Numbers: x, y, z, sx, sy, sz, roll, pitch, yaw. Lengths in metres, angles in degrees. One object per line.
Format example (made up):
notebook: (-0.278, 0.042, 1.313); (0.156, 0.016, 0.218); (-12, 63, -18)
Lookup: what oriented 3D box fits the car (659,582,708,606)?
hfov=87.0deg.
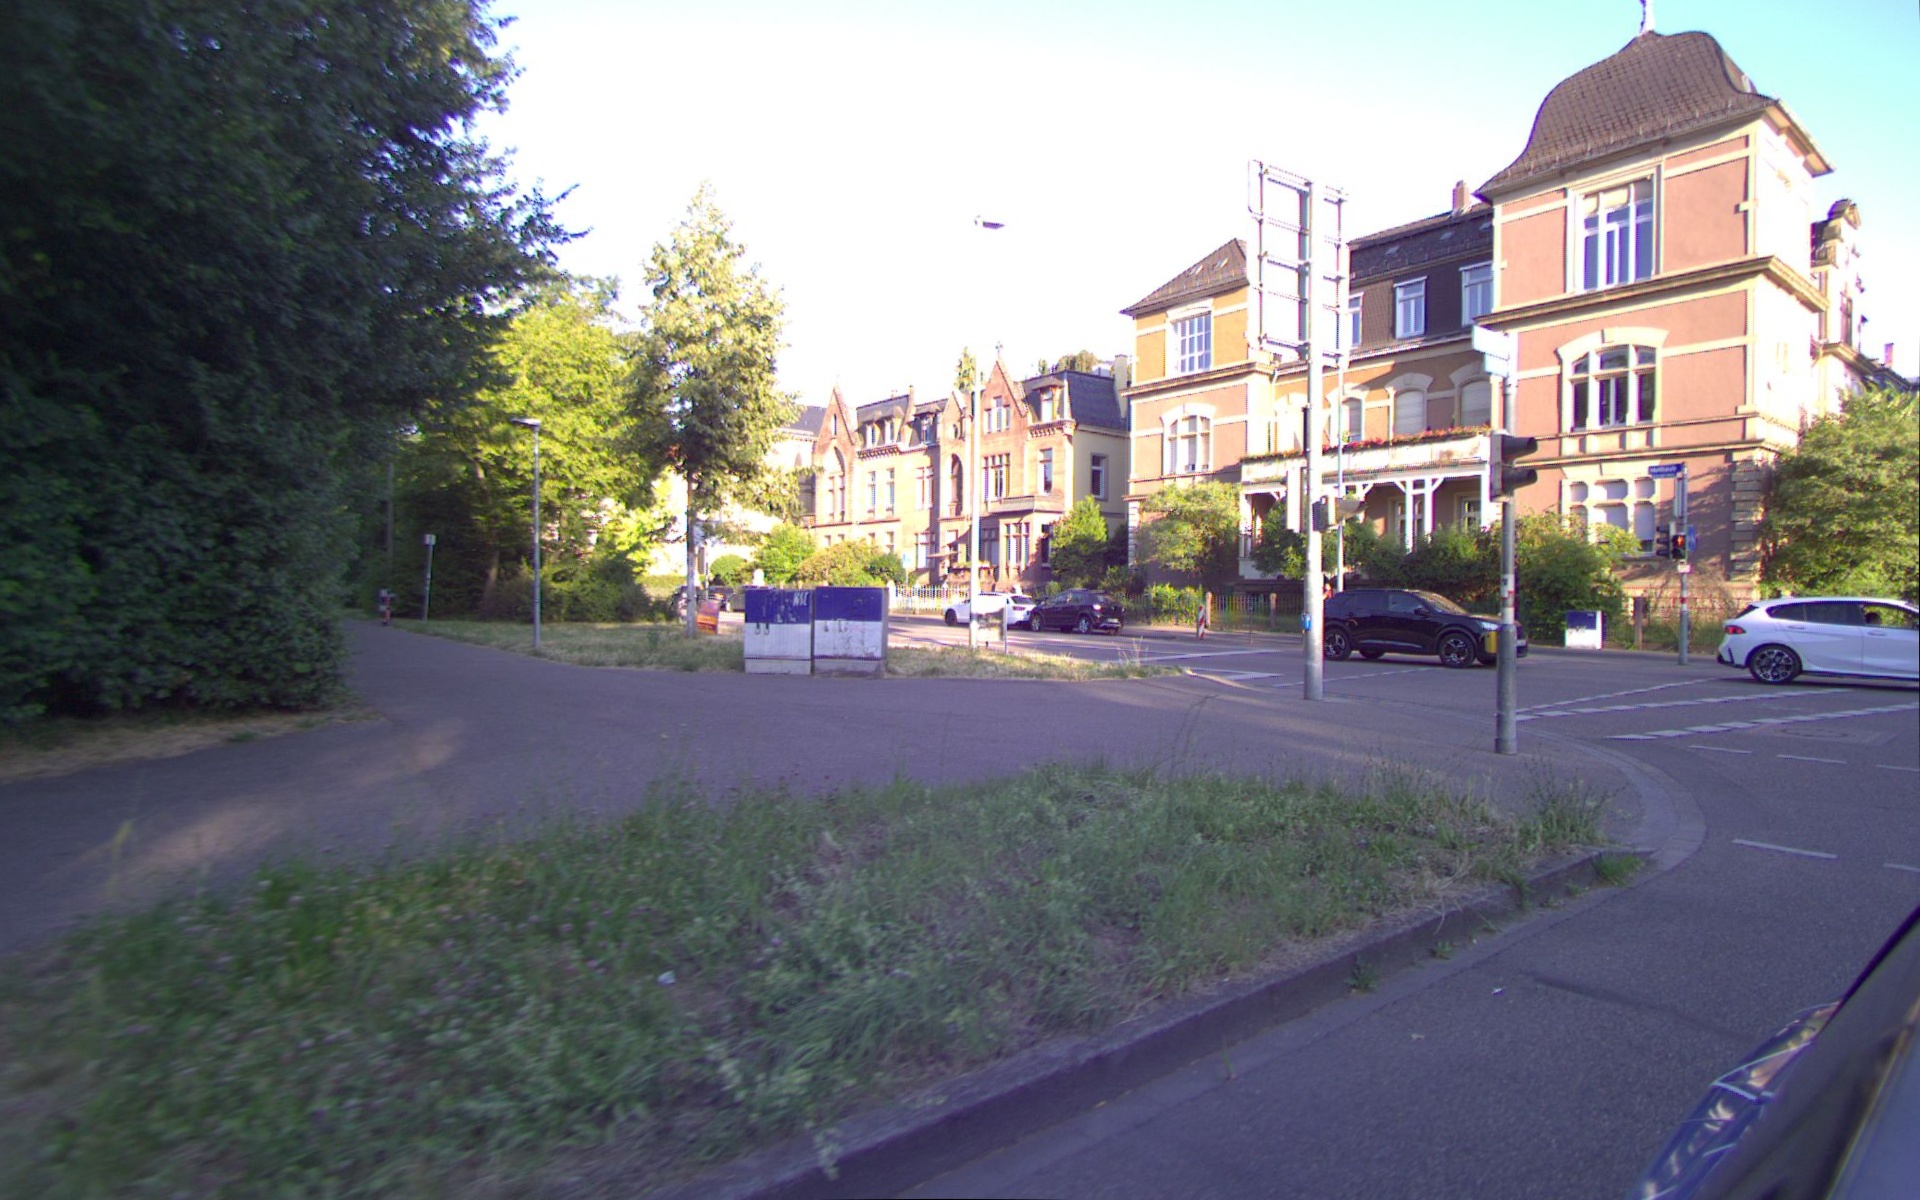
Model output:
car: (-17.835, -0.393, 65.273); (1.686, 1.468, 3.719); (1, 0, -39)

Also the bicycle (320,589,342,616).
bicycle: (-24.293, 0.094, 39.084); (0.494, 1.027, 1.524); (0, 1, -42)

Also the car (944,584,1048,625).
car: (1.371, 0.164, 40.272); (1.581, 1.461, 4.427); (3, -1, -40)

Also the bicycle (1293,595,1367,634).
bicycle: (11.613, 0.432, 31.803); (0.676, 1.137, 2.168); (-1, 2, -37)

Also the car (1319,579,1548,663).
car: (9.677, 0.358, 20.939); (1.653, 1.555, 3.997); (0, 1, -38)

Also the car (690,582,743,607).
car: (-14.886, -0.367, 61.758); (1.686, 1.468, 3.719); (1, 0, -39)

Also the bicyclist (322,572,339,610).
bicyclist: (-24.338, -0.358, 39.135); (0.487, 1.435, 0.567); (0, 0, -42)

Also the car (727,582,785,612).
car: (-11.677, -0.179, 57.698); (1.686, 1.609, 3.749); (1, 0, -39)

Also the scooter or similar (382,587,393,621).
scooter or similar: (-18.883, 0.130, 33.370); (0.190, 1.099, 0.838); (-2, 1, -23)

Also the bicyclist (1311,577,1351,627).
bicyclist: (11.638, 0.048, 31.770); (0.673, 1.531, 0.955); (-1, 1, -37)

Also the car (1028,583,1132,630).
car: (4.304, 0.215, 36.707); (1.602, 1.554, 3.722); (3, -1, -36)

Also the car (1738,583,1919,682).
car: (14.927, 0.489, 15.916); (4.172, 1.484, 1.731); (1, 1, 42)

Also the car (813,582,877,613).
car: (-5.732, -0.126, 50.320); (1.602, 1.463, 3.565); (1, 0, -36)

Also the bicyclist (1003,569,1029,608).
bicyclist: (2.389, -0.496, 42.961); (0.641, 1.653, 0.914); (-2, 2, -37)
